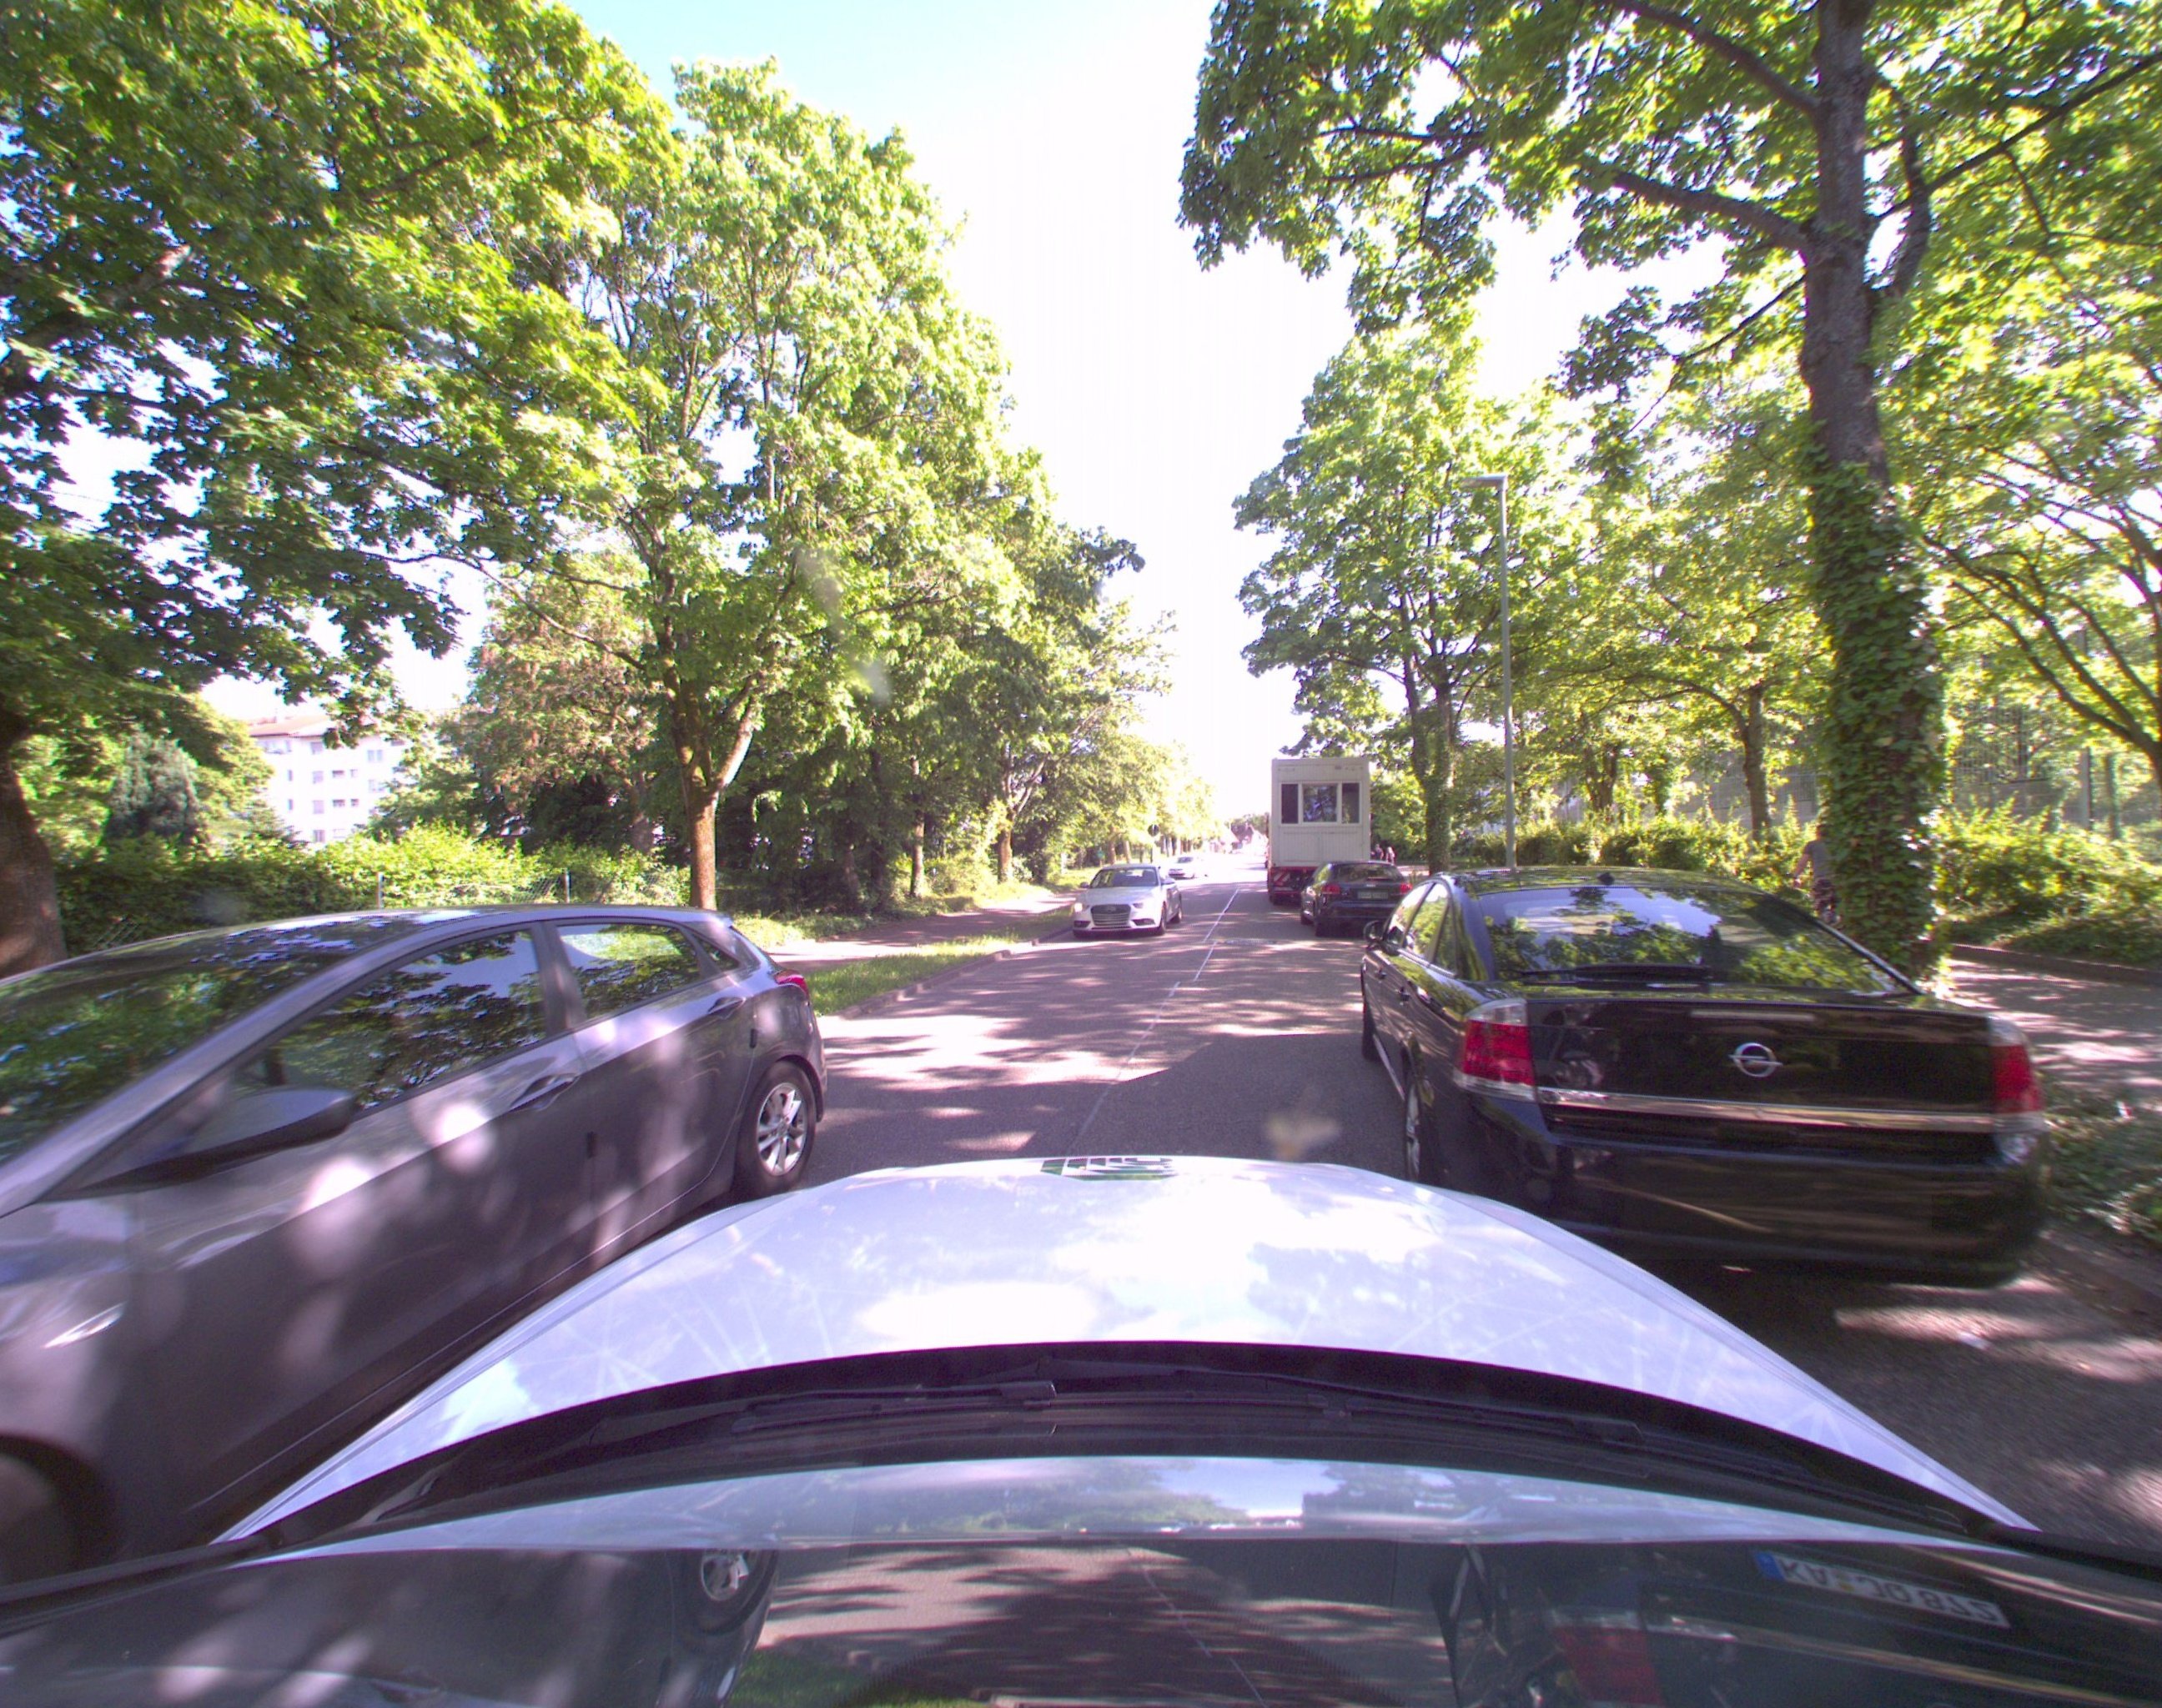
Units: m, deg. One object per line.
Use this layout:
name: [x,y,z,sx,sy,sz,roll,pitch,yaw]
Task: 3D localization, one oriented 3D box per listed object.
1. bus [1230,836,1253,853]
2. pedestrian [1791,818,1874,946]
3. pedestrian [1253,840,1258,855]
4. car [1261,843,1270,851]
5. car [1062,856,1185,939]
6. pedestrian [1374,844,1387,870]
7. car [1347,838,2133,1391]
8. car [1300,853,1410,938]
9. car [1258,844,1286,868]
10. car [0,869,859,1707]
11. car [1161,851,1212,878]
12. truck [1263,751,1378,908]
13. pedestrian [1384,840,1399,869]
bus: [35.345,-2.098,179.114,4.035,3.349,9.840,-3,0,15]
pedestrian: [9.768,0.351,10.607,0.566,1.608,0.675,-1,0,22]
pedestrian: [25.810,-0.981,120.549,0.747,2.113,0.802,0,0,15]
car: [42.306,-1.627,186.909,1.769,1.808,4.013,-2,0,12]
car: [1.032,0.833,17.175,1.774,1.416,4.120,-3,0,14]
pedestrian: [19.017,0.164,51.694,0.594,1.611,0.602,-3,0,9]
car: [2.471,0.709,4.352,1.736,1.480,4.046,-1,0,14]
car: [5.240,0.716,15.995,1.629,1.420,4.014,-1,0,13]
car: [15.856,0.157,67.717,1.935,1.843,4.011,-1,0,9]
car: [-2.532,0.876,2.558,1.744,1.454,4.256,-3,0,11]
car: [6.534,0.631,50.068,1.788,1.420,3.983,-3,0,27]
truck: [7.298,-0.665,26.089,2.754,3.995,10.383,0,0,12]
pedestrian: [19.647,0.025,51.610,0.693,1.812,0.702,-3,0,9]
